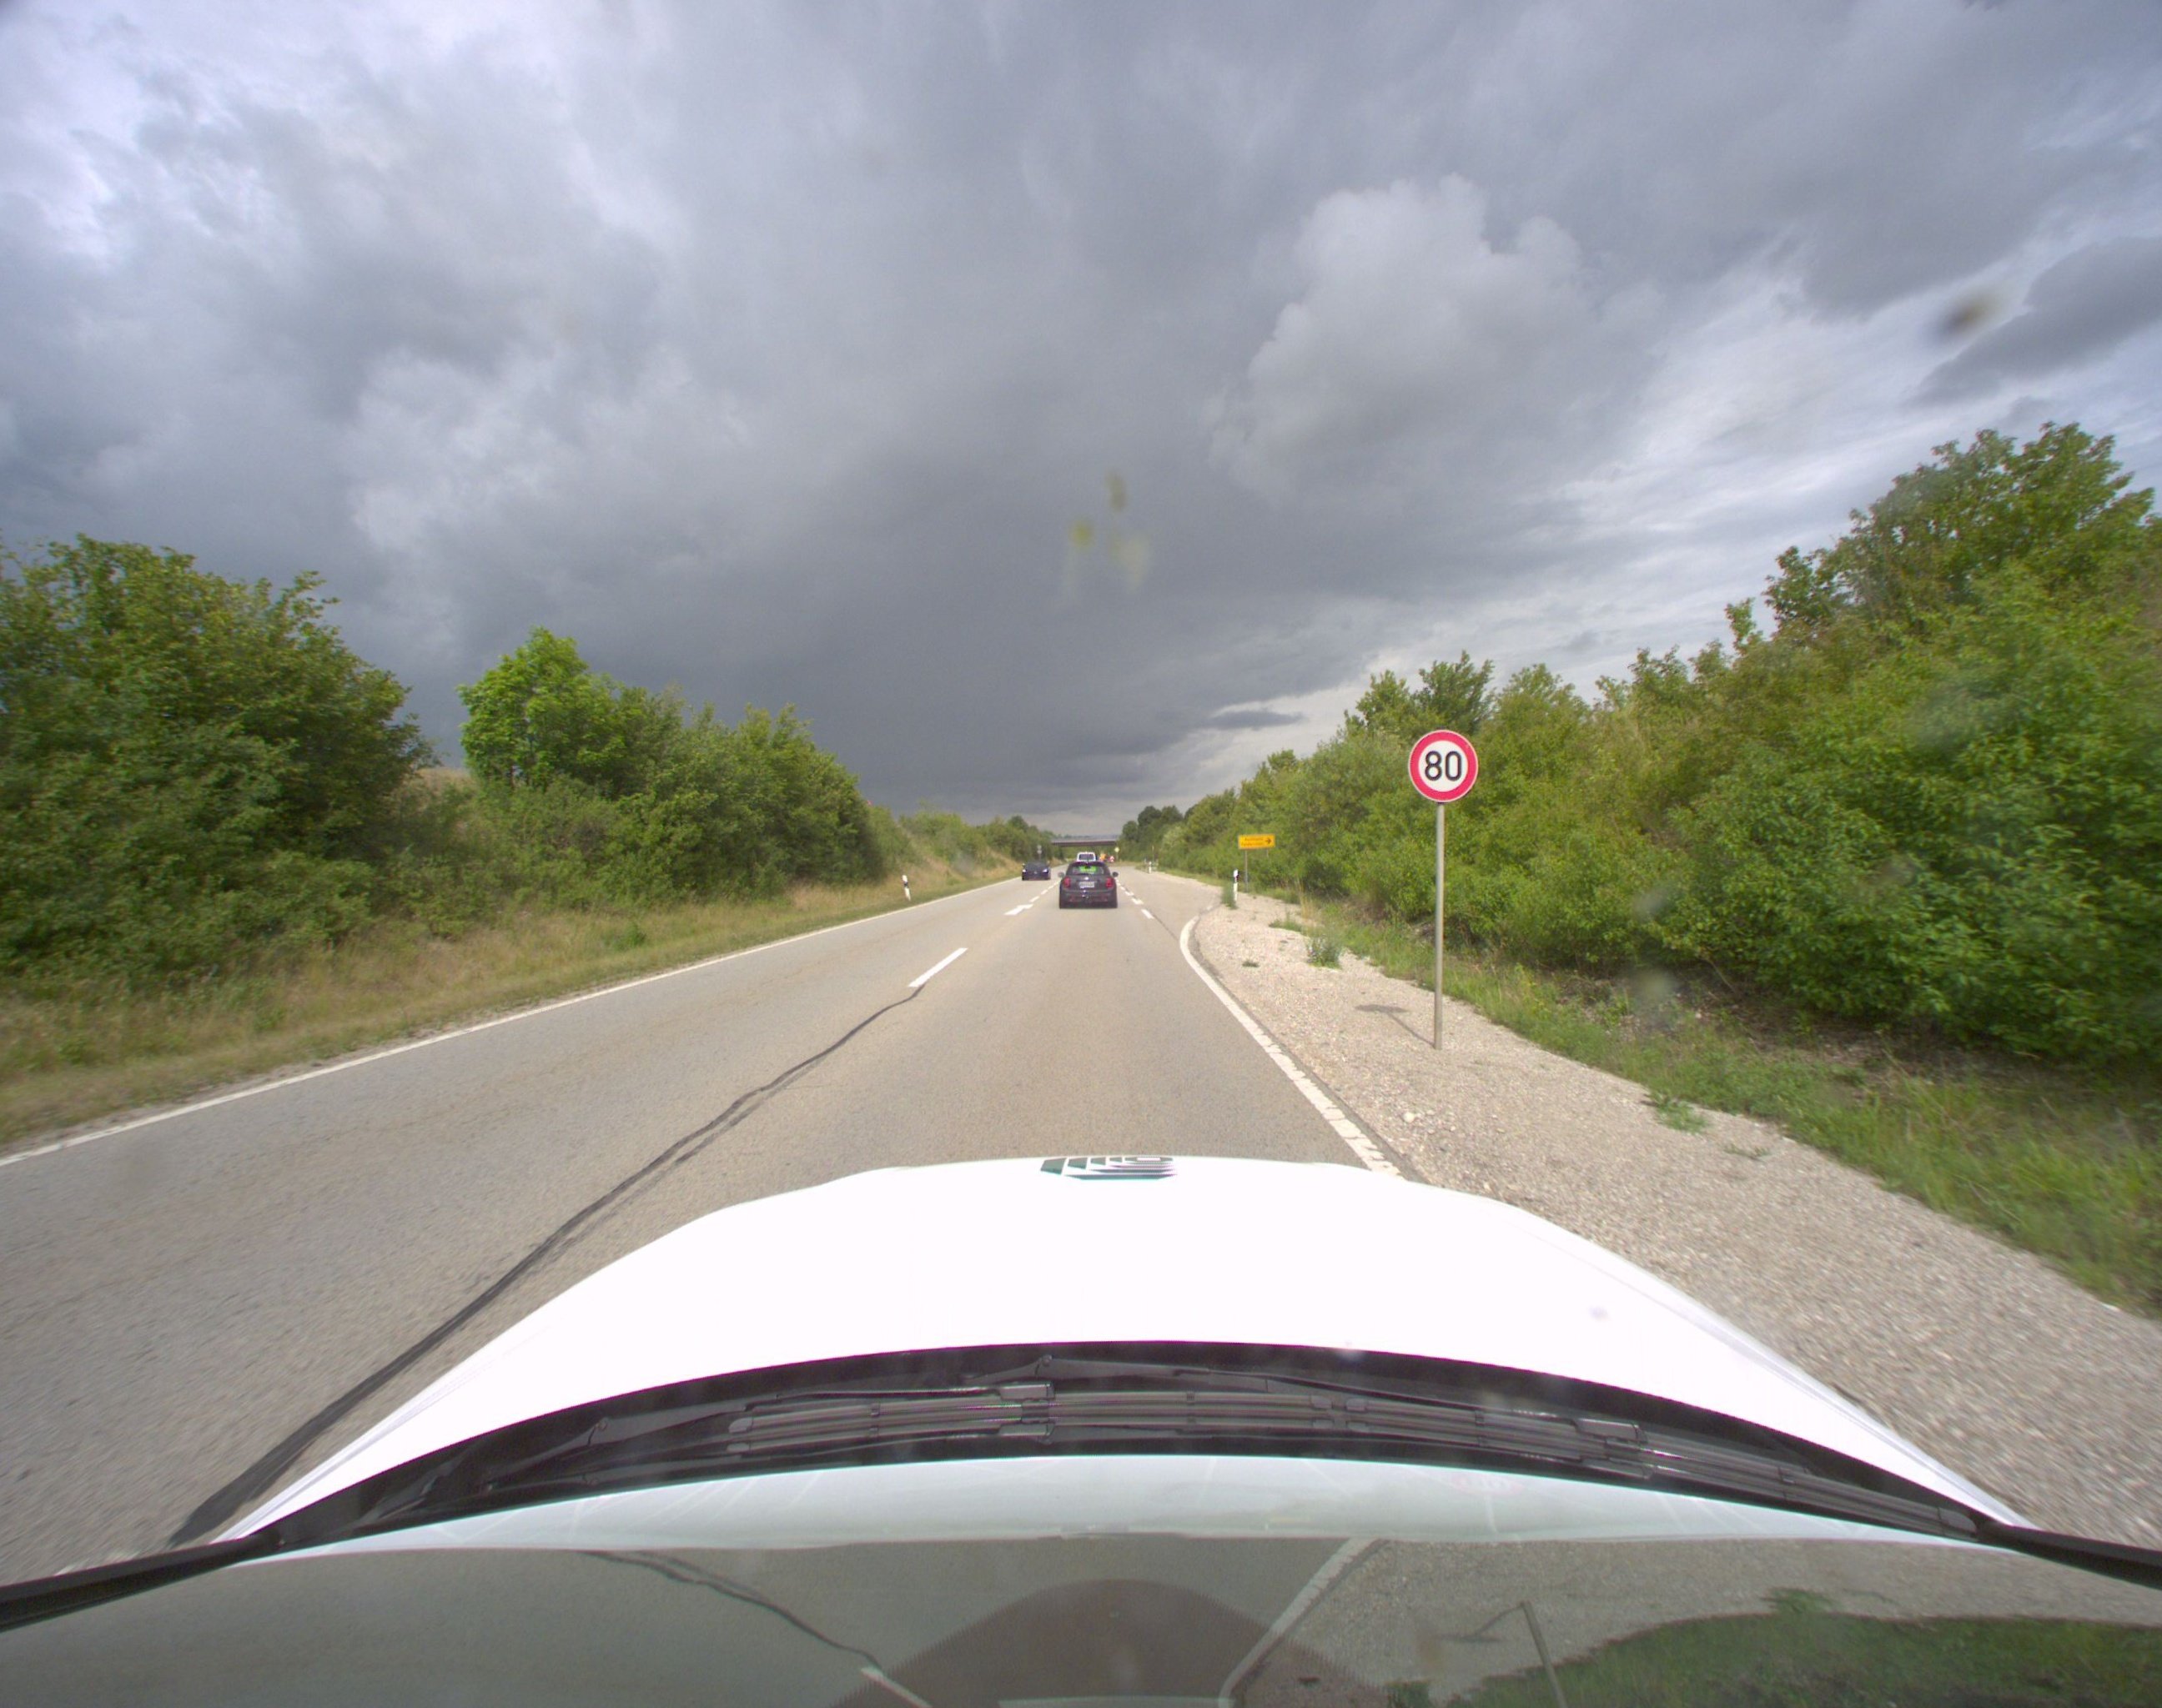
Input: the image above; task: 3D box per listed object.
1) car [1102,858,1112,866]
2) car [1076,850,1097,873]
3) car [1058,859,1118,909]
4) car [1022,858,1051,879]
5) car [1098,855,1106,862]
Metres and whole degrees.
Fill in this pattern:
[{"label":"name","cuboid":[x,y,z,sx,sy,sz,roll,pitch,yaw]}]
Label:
[{"label":"car","cuboid":[5.300,1.605,166.251,1.988,1.552,3.998,0,0,-1]},{"label":"car","cuboid":[0.508,0.701,75.063,1.813,2.054,4.000,0,0,1]},{"label":"car","cuboid":[0.225,0.885,25.541,1.750,1.427,4.000,0,0,1]},{"label":"car","cuboid":[-3.001,1.001,56.026,1.695,1.330,4.000,-2,0,0]},{"label":"car","cuboid":[5.436,1.245,212.681,1.775,1.706,3.998,-1,0,-1]}]
